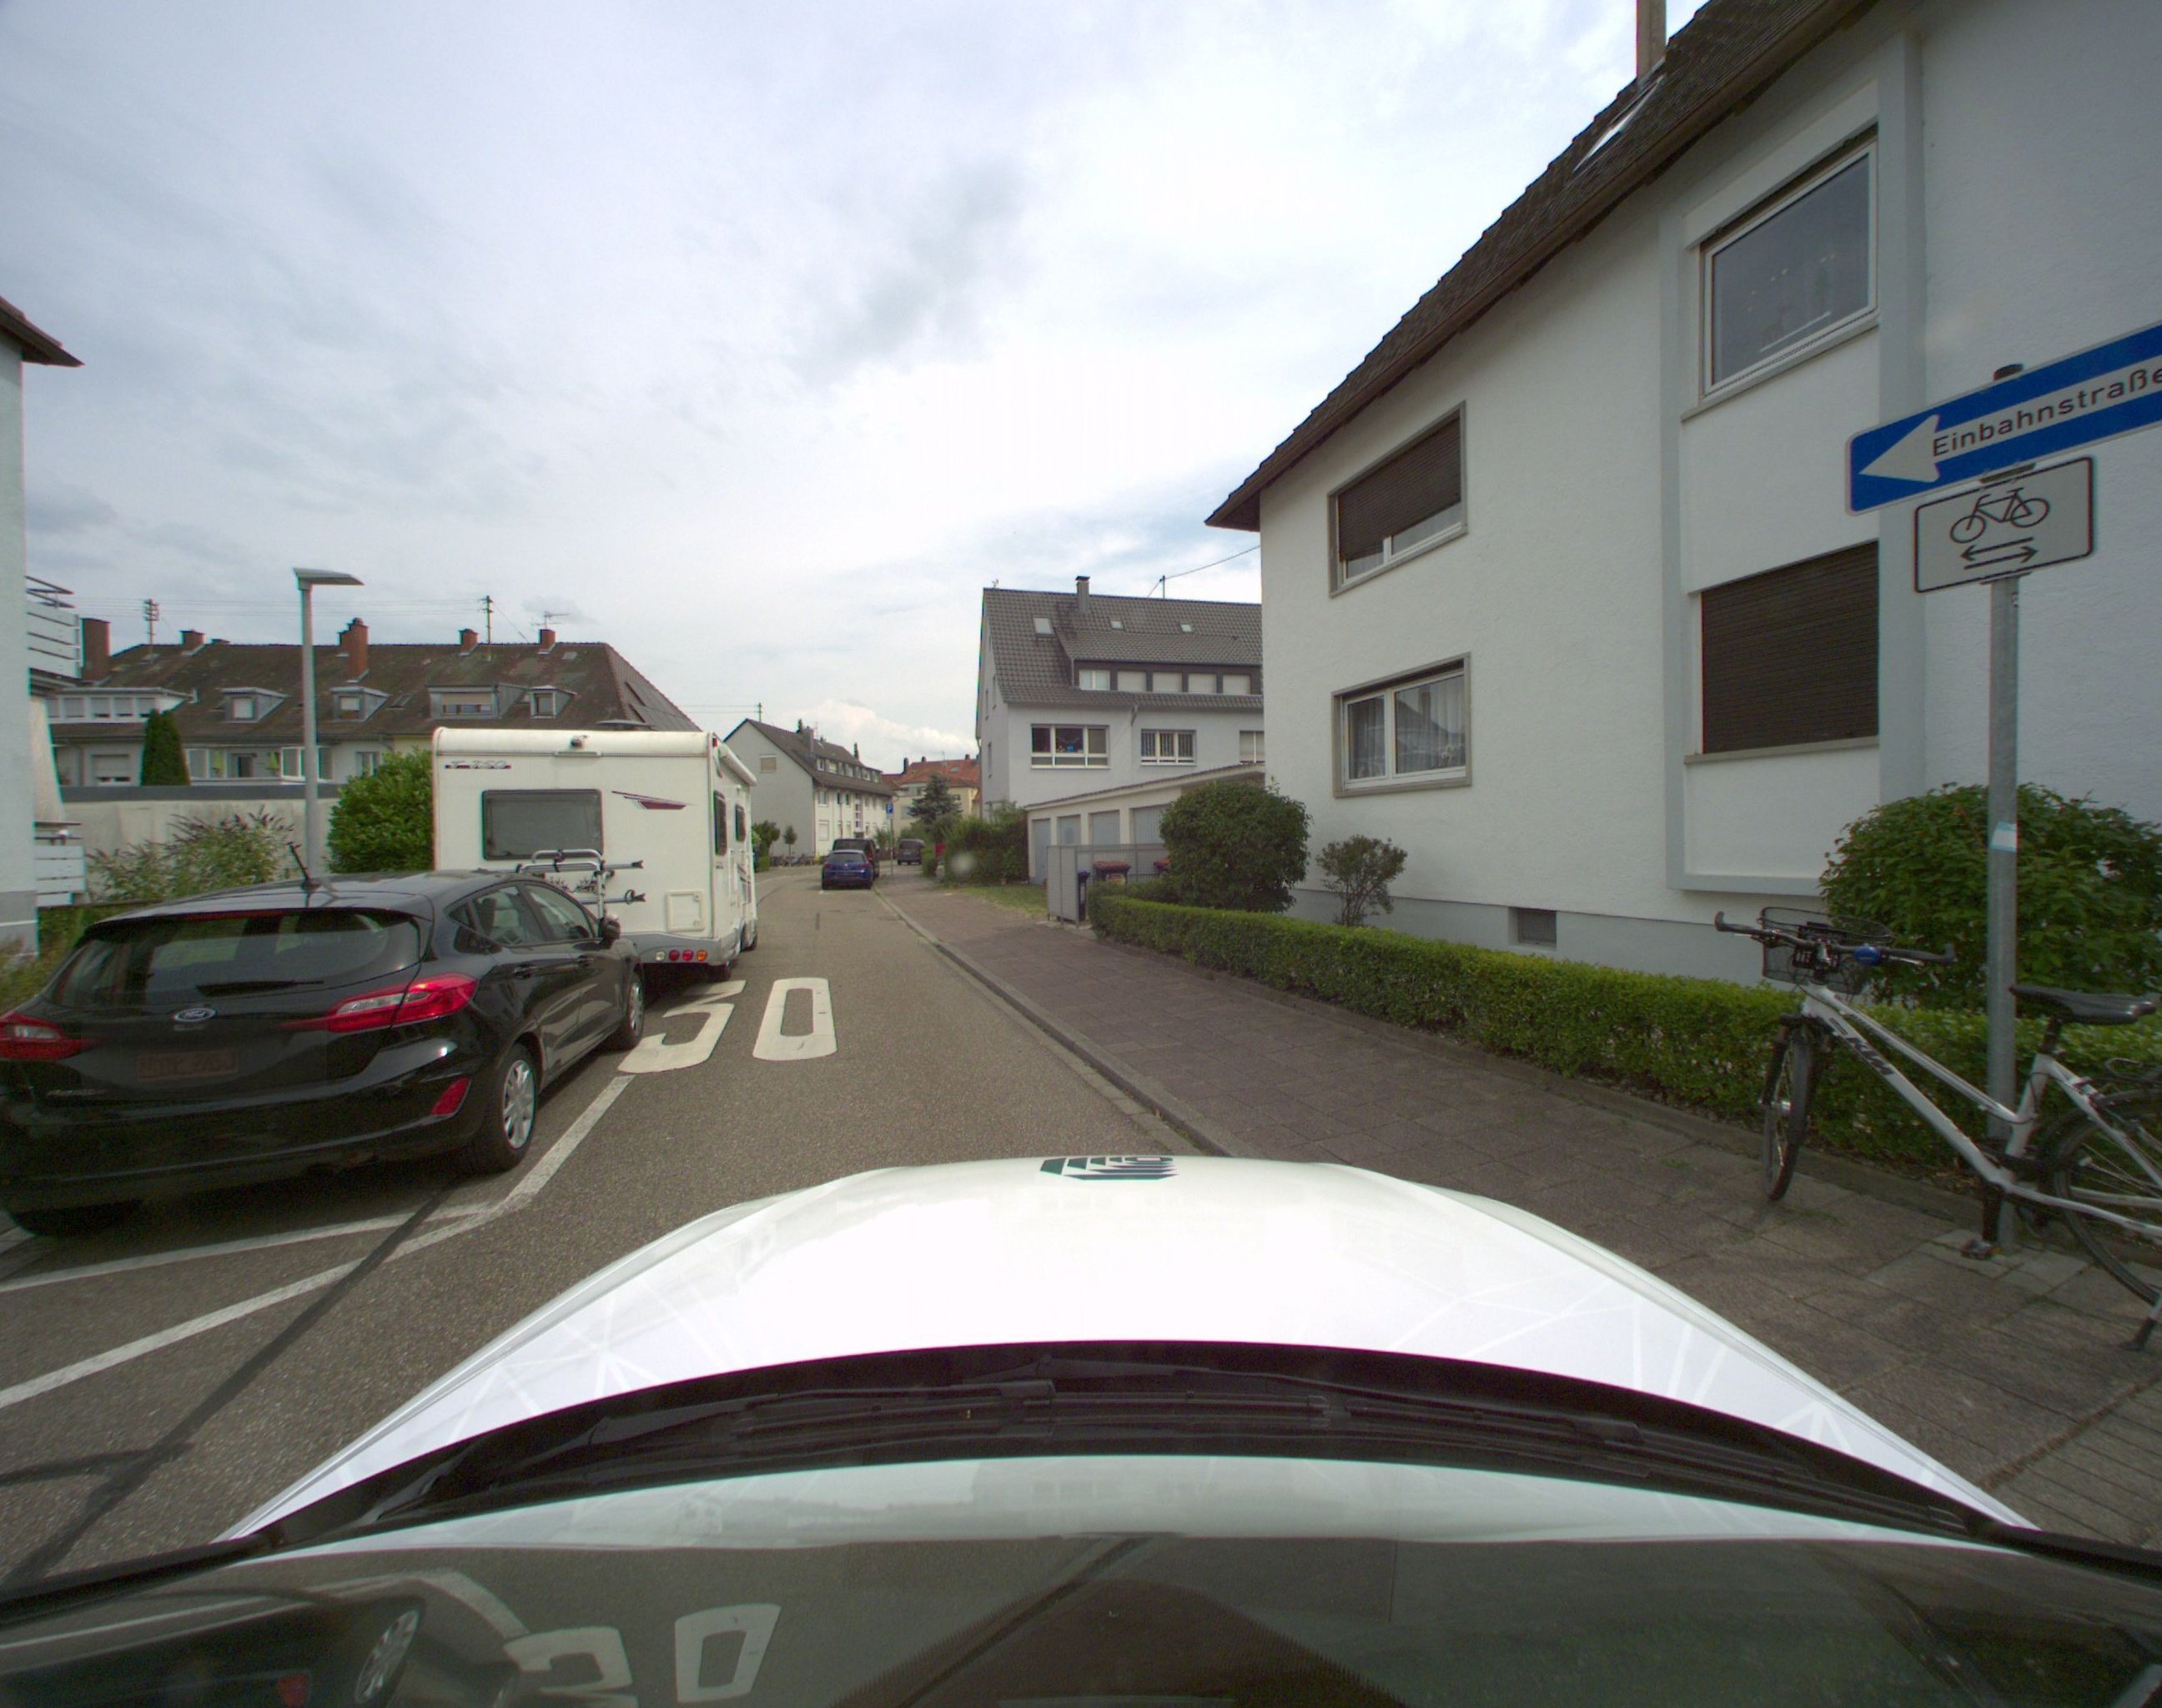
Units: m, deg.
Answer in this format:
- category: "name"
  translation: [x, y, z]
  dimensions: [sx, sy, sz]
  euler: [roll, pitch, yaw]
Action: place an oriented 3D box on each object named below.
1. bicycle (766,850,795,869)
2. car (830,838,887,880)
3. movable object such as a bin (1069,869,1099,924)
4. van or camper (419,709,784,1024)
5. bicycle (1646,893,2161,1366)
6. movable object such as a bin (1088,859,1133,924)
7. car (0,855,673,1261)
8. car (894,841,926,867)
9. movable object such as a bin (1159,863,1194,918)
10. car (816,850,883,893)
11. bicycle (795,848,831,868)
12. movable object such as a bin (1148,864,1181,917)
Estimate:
- category: "bicycle"
  translation: [-21.745, 0.406, 58.904]
  dimensions: [1.845, 1.373, 0.664]
  euler: [-1, -1, -31]
- category: "car"
  translation: [-10.136, 0.256, 37.407]
  dimensions: [1.851, 1.742, 4.336]
  euler: [-1, -1, -6]
- category: "movable object such as a bin"
  translation: [0.051, 0.760, 14.762]
  dimensions: [0.390, 0.973, 0.512]
  euler: [-1, -1, -18]
- category: "van or camper"
  translation: [-5.355, 0.151, 10.340]
  dimensions: [2.408, 2.725, 6.130]
  euler: [-1, -1, -15]
- category: "bicycle"
  translation: [2.805, 0.737, 2.608]
  dimensions: [0.435, 1.179, 1.626]
  euler: [-1, -1, -22]
- category: "movable object such as a bin"
  translation: [0.531, 0.681, 14.988]
  dimensions: [0.581, 1.137, 0.750]
  euler: [-1, -1, -18]
- category: "car"
  translation: [-3.816, 0.776, 4.891]
  dimensions: [1.661, 1.422, 3.749]
  euler: [-1, -1, -15]
- category: "car"
  translation: [-12.360, 0.029, 59.086]
  dimensions: [1.851, 1.742, 4.336]
  euler: [-1, -1, -6]
- category: "movable object such as a bin"
  translation: [1.737, 0.665, 14.889]
  dimensions: [0.455, 0.973, 0.504]
  euler: [-1, -1, -17]
- category: "car"
  translation: [-8.572, 0.633, 30.414]
  dimensions: [1.720, 1.452, 3.991]
  euler: [-1, -1, -6]
- category: "bicycle"
  translation: [-19.825, 0.273, 60.295]
  dimensions: [2.365, 1.460, 0.711]
  euler: [-1, -2, -40]
- category: "movable object such as a bin"
  translation: [1.581, 0.683, 15.456]
  dimensions: [0.455, 0.973, 0.504]
  euler: [-1, -1, -17]
